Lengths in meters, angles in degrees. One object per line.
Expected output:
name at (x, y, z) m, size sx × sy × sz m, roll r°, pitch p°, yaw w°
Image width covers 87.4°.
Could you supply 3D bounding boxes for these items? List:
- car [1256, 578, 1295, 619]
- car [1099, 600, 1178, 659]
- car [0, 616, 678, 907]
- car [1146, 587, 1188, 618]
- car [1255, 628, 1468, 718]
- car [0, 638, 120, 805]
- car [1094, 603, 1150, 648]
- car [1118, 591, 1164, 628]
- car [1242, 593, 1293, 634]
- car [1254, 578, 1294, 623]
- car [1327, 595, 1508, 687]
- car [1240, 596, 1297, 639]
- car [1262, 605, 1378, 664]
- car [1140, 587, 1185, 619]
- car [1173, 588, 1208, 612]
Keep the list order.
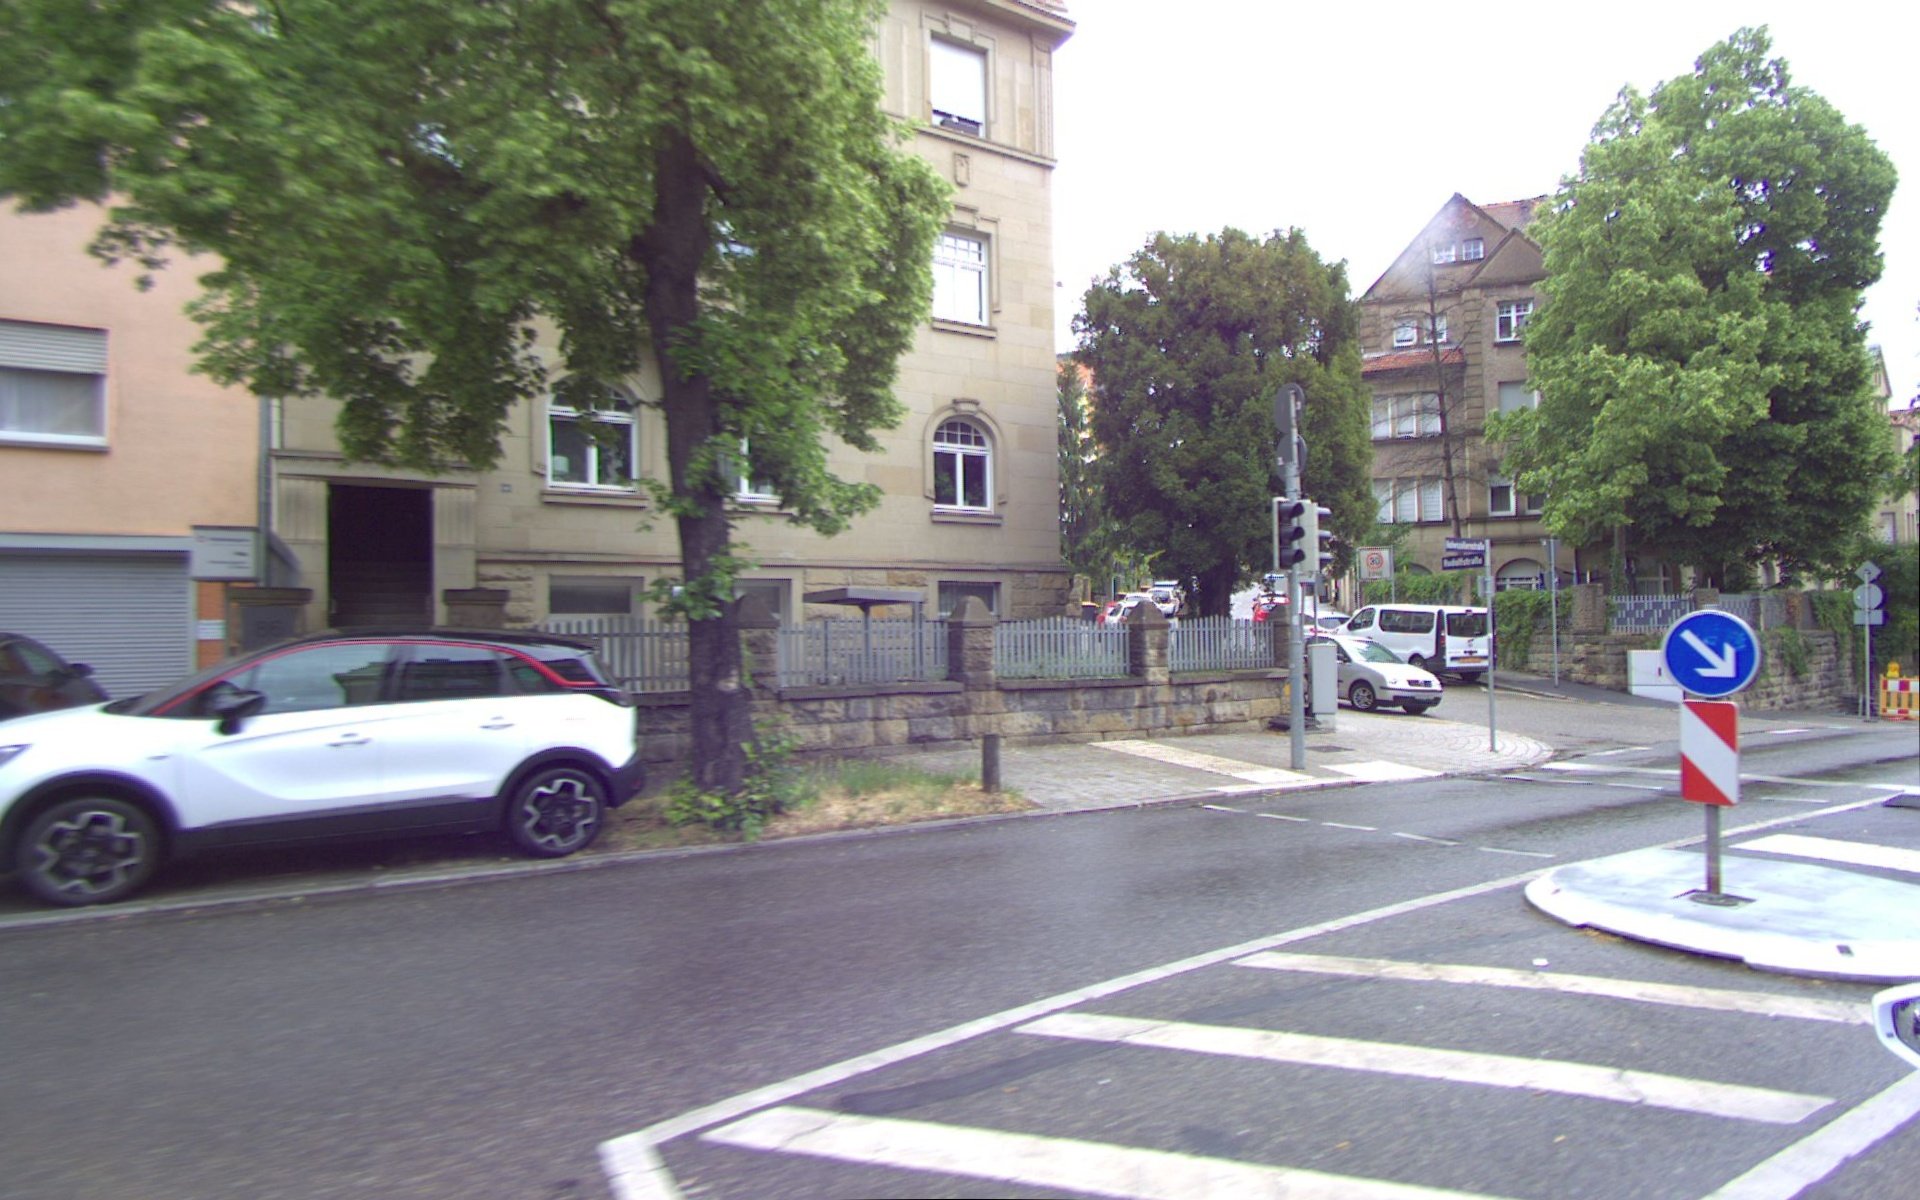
car at (17.640, -0.078, 56.180) m, size 1.884 × 2.038 × 4.444 m, roll 4°, pitch 1°, yaw 18°
car at (5.913, 0.954, 33.717) m, size 1.882 × 1.697 × 4.159 m, roll 4°, pitch 0°, yaw 1°
car at (-4.391, 0.997, 7.168) m, size 4.252 × 1.579 × 1.733 m, roll 3°, pitch -1°, yaw -30°
car at (12.065, 0.121, 58.345) m, size 1.882 × 1.531 × 4.248 m, roll 4°, pitch 3°, yaw 18°
car at (8.157, 1.446, 20.764) m, size 1.802 × 1.427 × 3.851 m, roll 5°, pitch 0°, yaw -24°
car at (-9.421, 1.028, 9.359) m, size 1.816 × 1.344 × 3.967 m, roll 1°, pitch -3°, yaw -31°
car at (6.182, 0.957, 38.646) m, size 1.881 × 1.494 × 3.838 m, roll 4°, pitch 0°, yaw 7°
car at (8.717, 0.405, 48.024) m, size 1.717 × 1.527 × 4.159 m, roll 4°, pitch 2°, yaw 15°
car at (14.370, 0.609, 46.915) m, size 2.071 × 1.649 × 4.444 m, roll 4°, pitch 1°, yaw 18°
car at (16.292, 0.003, 52.064) m, size 1.760 × 2.068 × 3.937 m, roll 5°, pitch 2°, yaw 18°
car at (12.531, 1.037, 27.900) m, size 1.992 × 2.076 × 4.661 m, roll 1°, pitch 3°, yaw -15°
car at (12.765, 0.694, 41.807) m, size 1.993 × 1.555 × 4.445 m, roll 4°, pitch 1°, yaw 15°
car at (11.834, 1.082, 33.359) m, size 2.072 × 1.535 × 4.440 m, roll 0°, pitch 4°, yaw -2°
car at (10.776, 0.132, 53.328) m, size 1.813 × 1.477 × 4.158 m, roll 4°, pitch 2°, yaw 18°
car at (16.786, 0.000, 73.061) m, size 2.071 × 1.427 × 4.445 m, roll 4°, pitch 0°, yaw 18°
